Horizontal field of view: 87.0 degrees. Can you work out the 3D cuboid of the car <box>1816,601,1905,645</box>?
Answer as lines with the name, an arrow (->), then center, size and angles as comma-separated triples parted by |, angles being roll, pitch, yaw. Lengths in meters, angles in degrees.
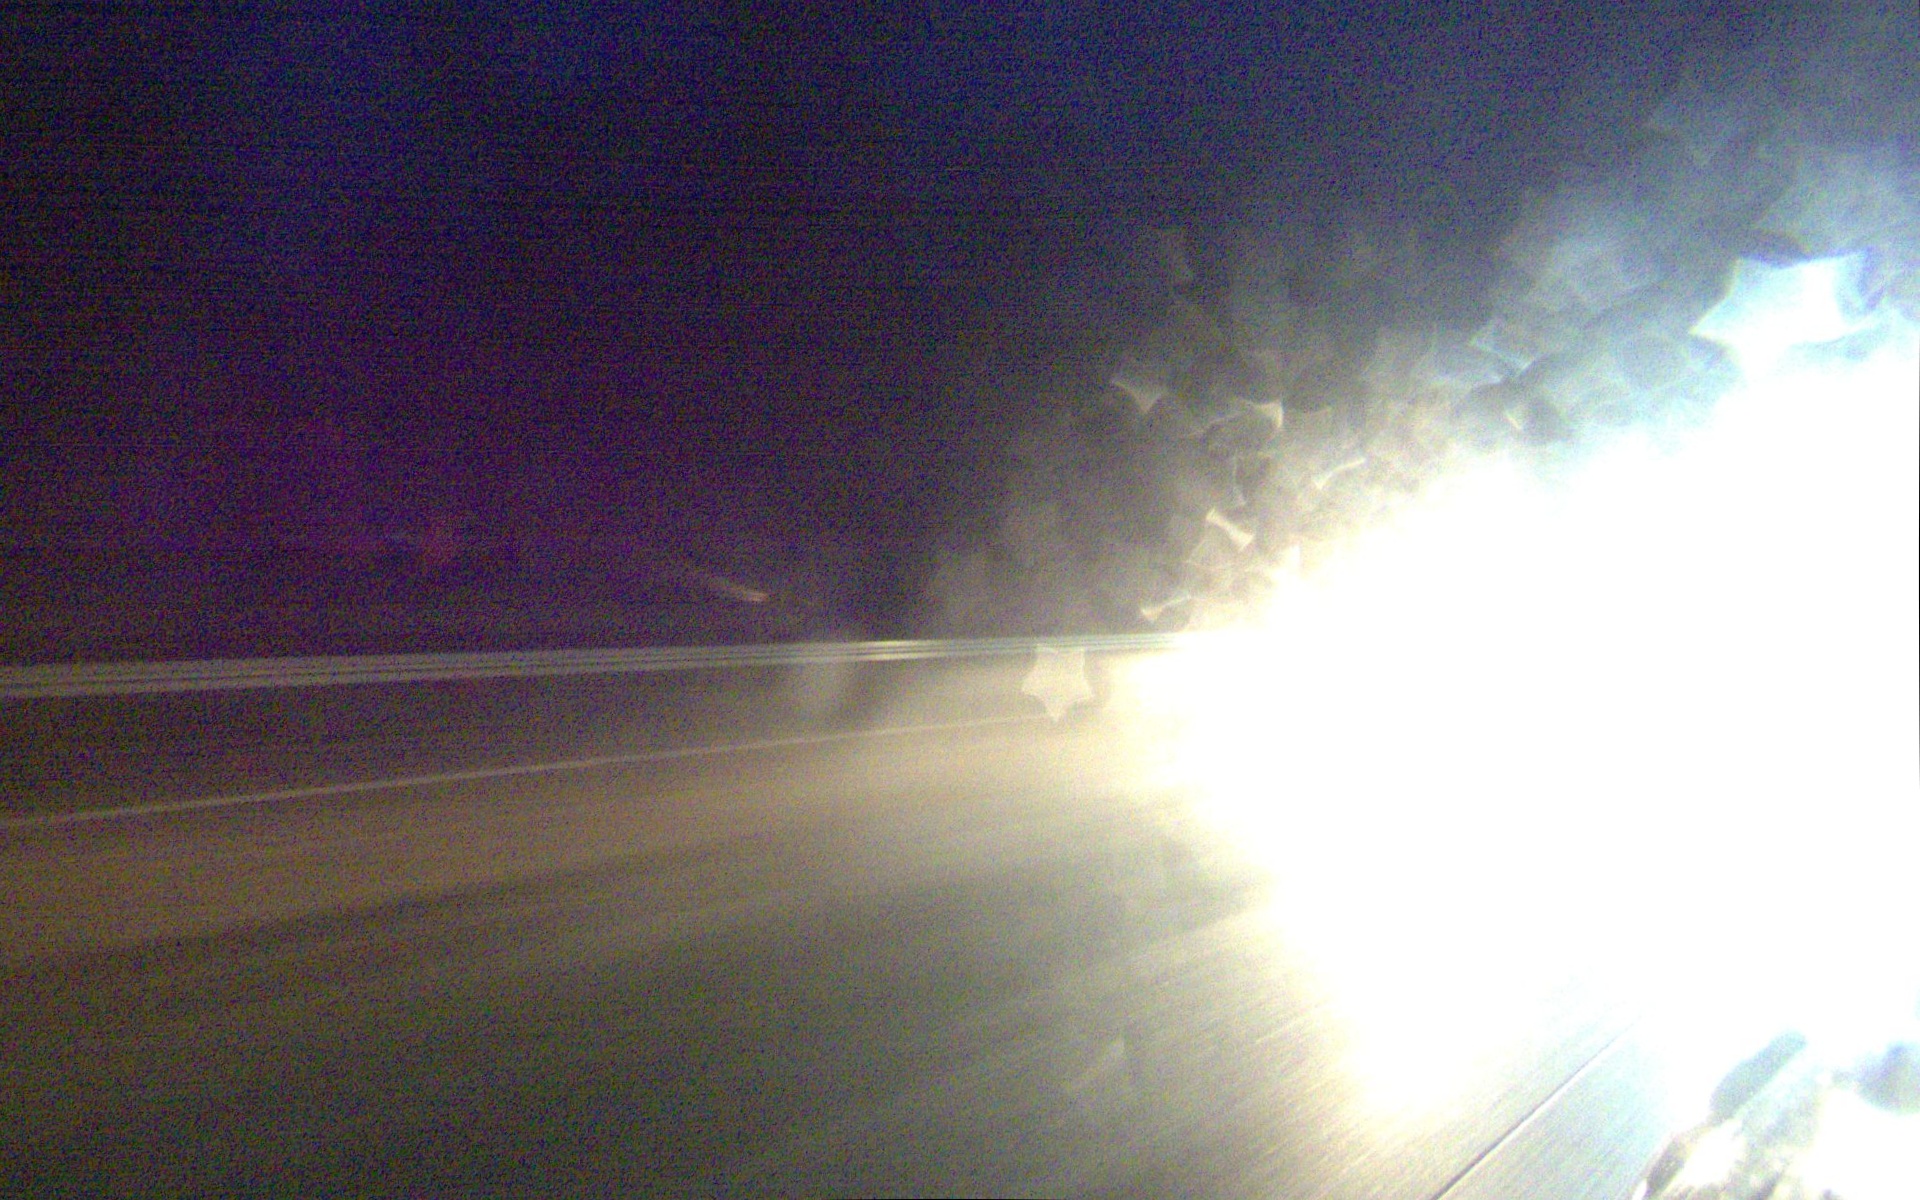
car -> 32.329, 0.782, 36.282 | 5.272, 1.498, 1.745 | 0, -1, -41

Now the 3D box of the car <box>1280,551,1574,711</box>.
car -> 7.163, 0.389, 15.226 | 5.312, 1.999, 2.050 | 0, 0, -41

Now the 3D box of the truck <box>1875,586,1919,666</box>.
truck -> 22.497, 0.535, 23.072 | 4.769, 1.717, 1.847 | -1, 0, -41
